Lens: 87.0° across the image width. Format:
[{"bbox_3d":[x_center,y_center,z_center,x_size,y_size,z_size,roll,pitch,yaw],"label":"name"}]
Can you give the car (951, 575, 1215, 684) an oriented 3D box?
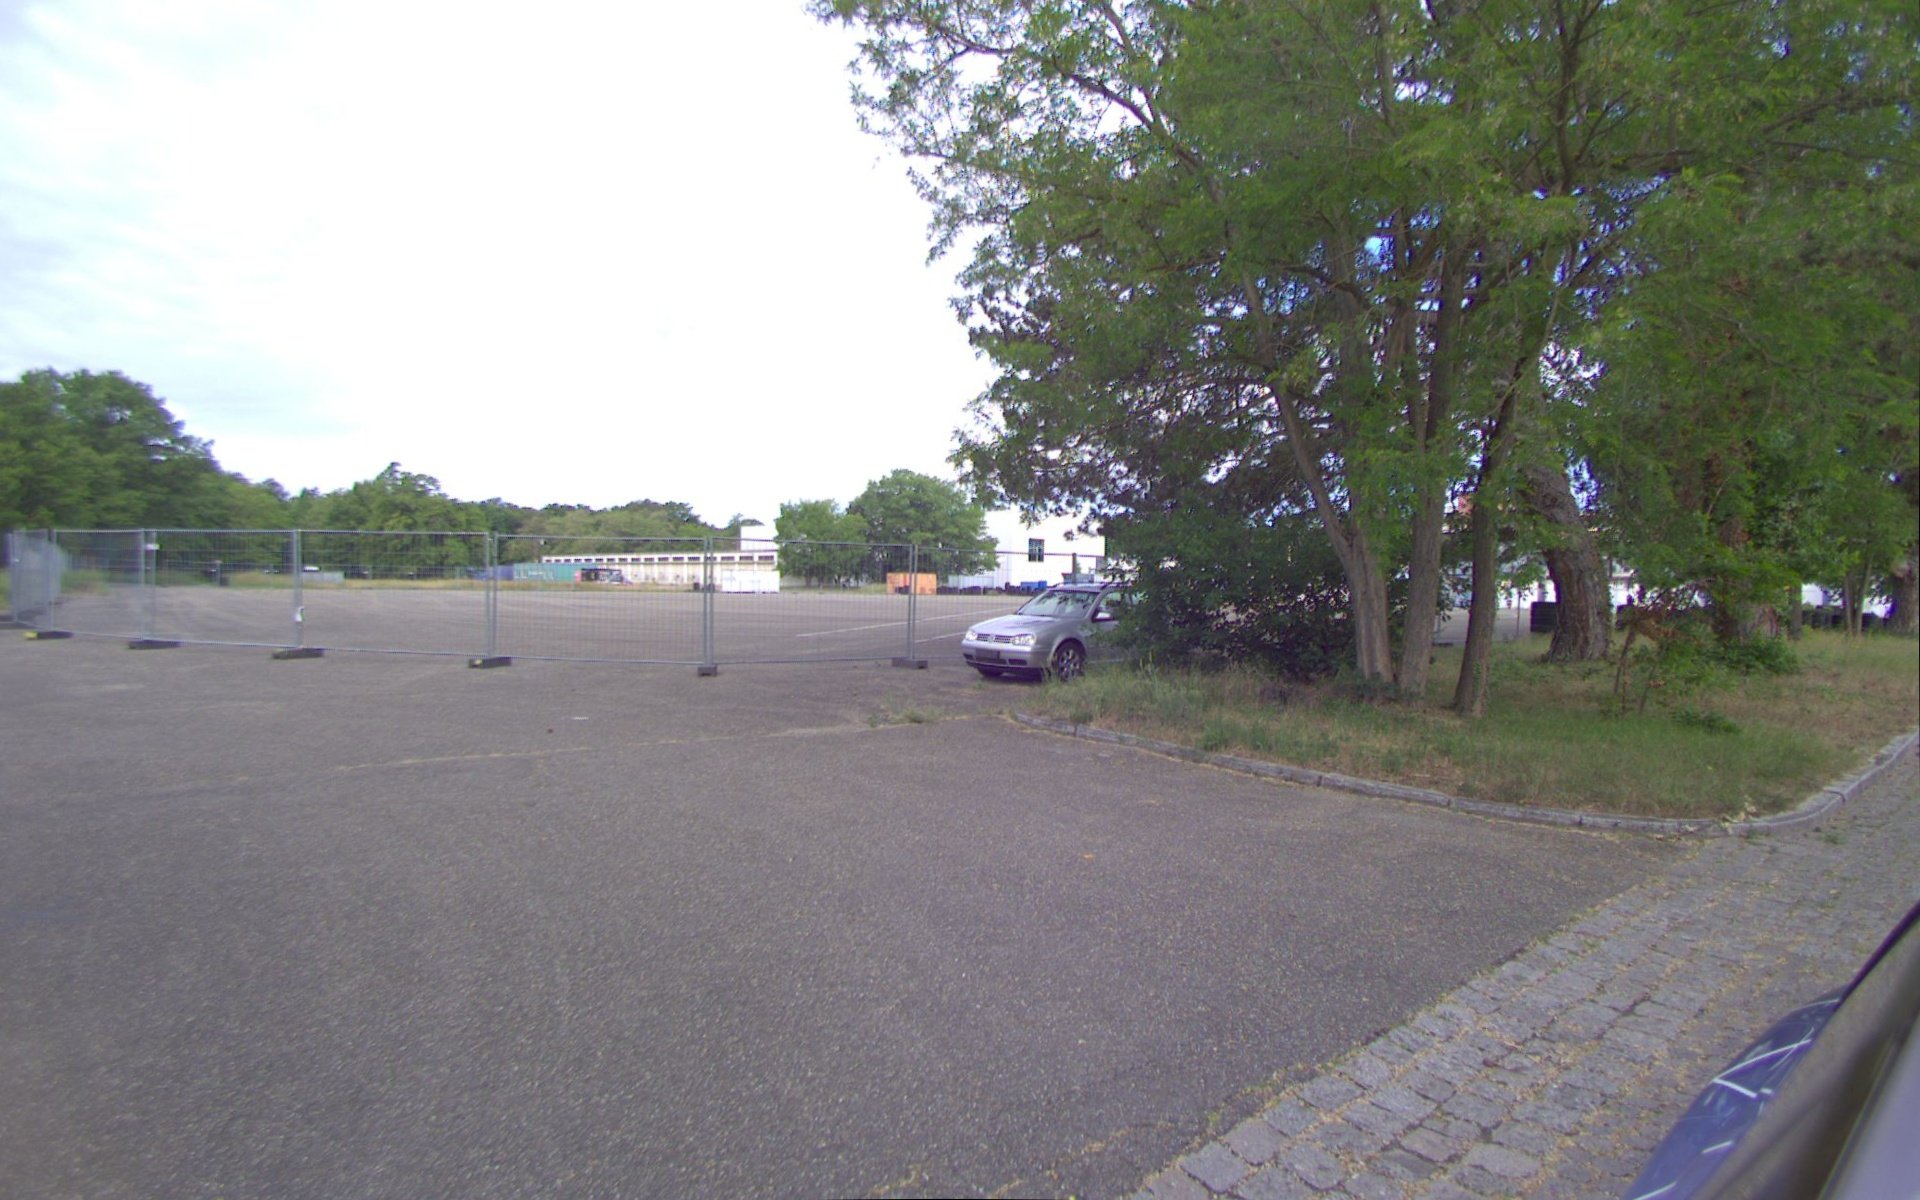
[{"bbox_3d":[2.035,0.370,15.784,4.414,1.469,1.675,0,1,-44],"label":"car"}]
